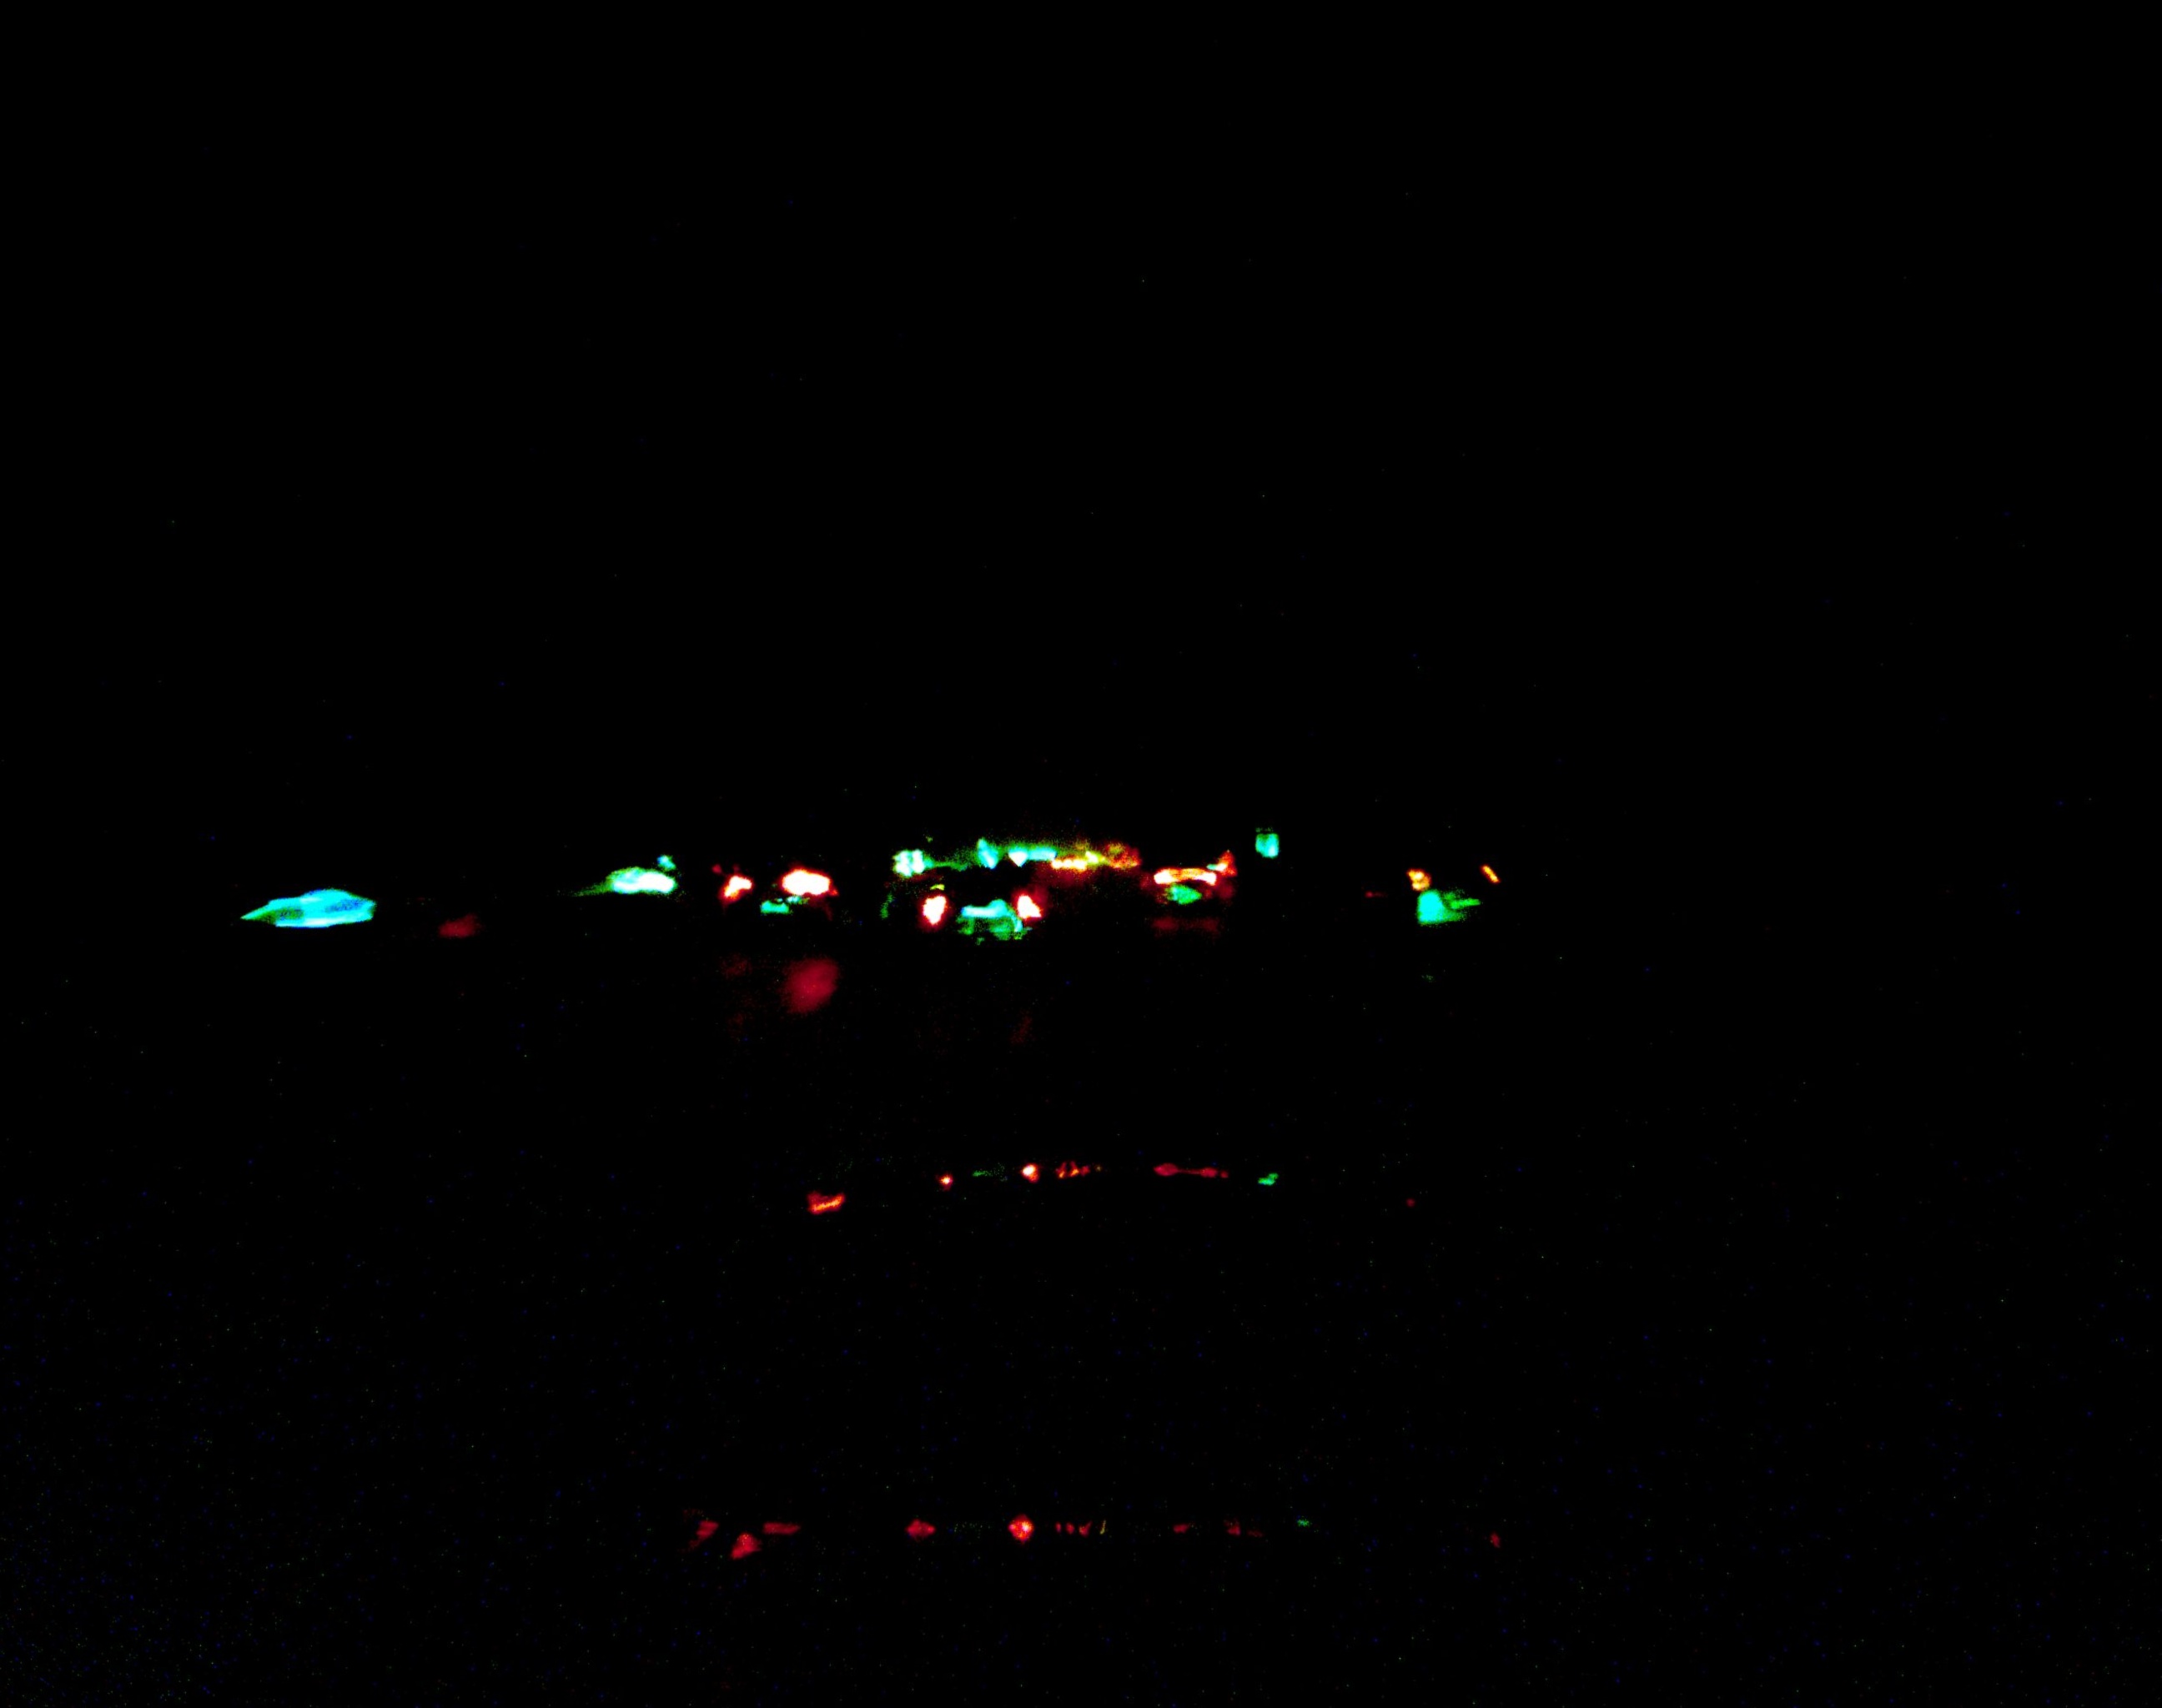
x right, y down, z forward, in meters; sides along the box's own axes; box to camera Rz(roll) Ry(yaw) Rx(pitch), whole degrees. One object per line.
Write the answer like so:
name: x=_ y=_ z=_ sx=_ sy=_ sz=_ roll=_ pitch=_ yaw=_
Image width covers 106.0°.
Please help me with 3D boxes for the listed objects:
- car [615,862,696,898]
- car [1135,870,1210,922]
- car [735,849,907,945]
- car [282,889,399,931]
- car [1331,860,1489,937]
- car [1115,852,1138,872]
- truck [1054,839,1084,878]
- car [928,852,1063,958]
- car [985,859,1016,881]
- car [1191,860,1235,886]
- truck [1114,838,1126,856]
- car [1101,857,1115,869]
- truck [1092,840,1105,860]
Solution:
car: x=-21.868 y=1.313 z=42.075 sx=1.987 sy=1.647 sz=3.953 roll=-4 pitch=0 yaw=0
car: x=2.448 y=1.116 z=22.427 sx=1.577 sy=1.246 sz=3.065 roll=0 pitch=0 yaw=-3
car: x=-4.966 y=0.724 z=16.342 sx=1.852 sy=1.540 sz=4.751 roll=-1 pitch=1 yaw=1
car: x=-28.762 y=2.148 z=31.773 sx=1.527 sy=1.307 sz=3.233 roll=-4 pitch=0 yaw=0
car: x=5.966 y=0.751 z=15.116 sx=1.577 sy=1.246 sz=3.065 roll=0 pitch=0 yaw=-3
car: x=3.742 y=0.665 z=67.655 sx=1.856 sy=1.618 sz=4.002 roll=0 pitch=0 yaw=2
truck: x=-0.933 y=0.383 z=68.591 sx=1.986 sy=3.042 sz=6.468 roll=-4 pitch=0 yaw=2
car: x=-1.270 y=0.729 z=13.701 sx=1.796 sy=1.487 sz=4.000 roll=-1 pitch=0 yaw=0
car: x=-5.241 y=1.029 z=53.251 sx=1.657 sy=1.236 sz=3.759 roll=-4 pitch=0 yaw=-1
car: x=6.767 y=0.953 z=41.956 sx=1.577 sy=1.246 sz=3.065 roll=0 pitch=0 yaw=-3
truck: x=7.138 y=-1.304 z=149.480 sx=1.986 sy=3.042 sz=6.468 roll=-4 pitch=0 yaw=2
car: x=3.739 y=1.187 z=111.470 sx=1.856 sy=1.618 sz=4.002 roll=0 pitch=0 yaw=2
truck: x=3.004 y=-0.649 z=137.350 sx=1.986 sy=3.042 sz=6.468 roll=-4 pitch=0 yaw=2
